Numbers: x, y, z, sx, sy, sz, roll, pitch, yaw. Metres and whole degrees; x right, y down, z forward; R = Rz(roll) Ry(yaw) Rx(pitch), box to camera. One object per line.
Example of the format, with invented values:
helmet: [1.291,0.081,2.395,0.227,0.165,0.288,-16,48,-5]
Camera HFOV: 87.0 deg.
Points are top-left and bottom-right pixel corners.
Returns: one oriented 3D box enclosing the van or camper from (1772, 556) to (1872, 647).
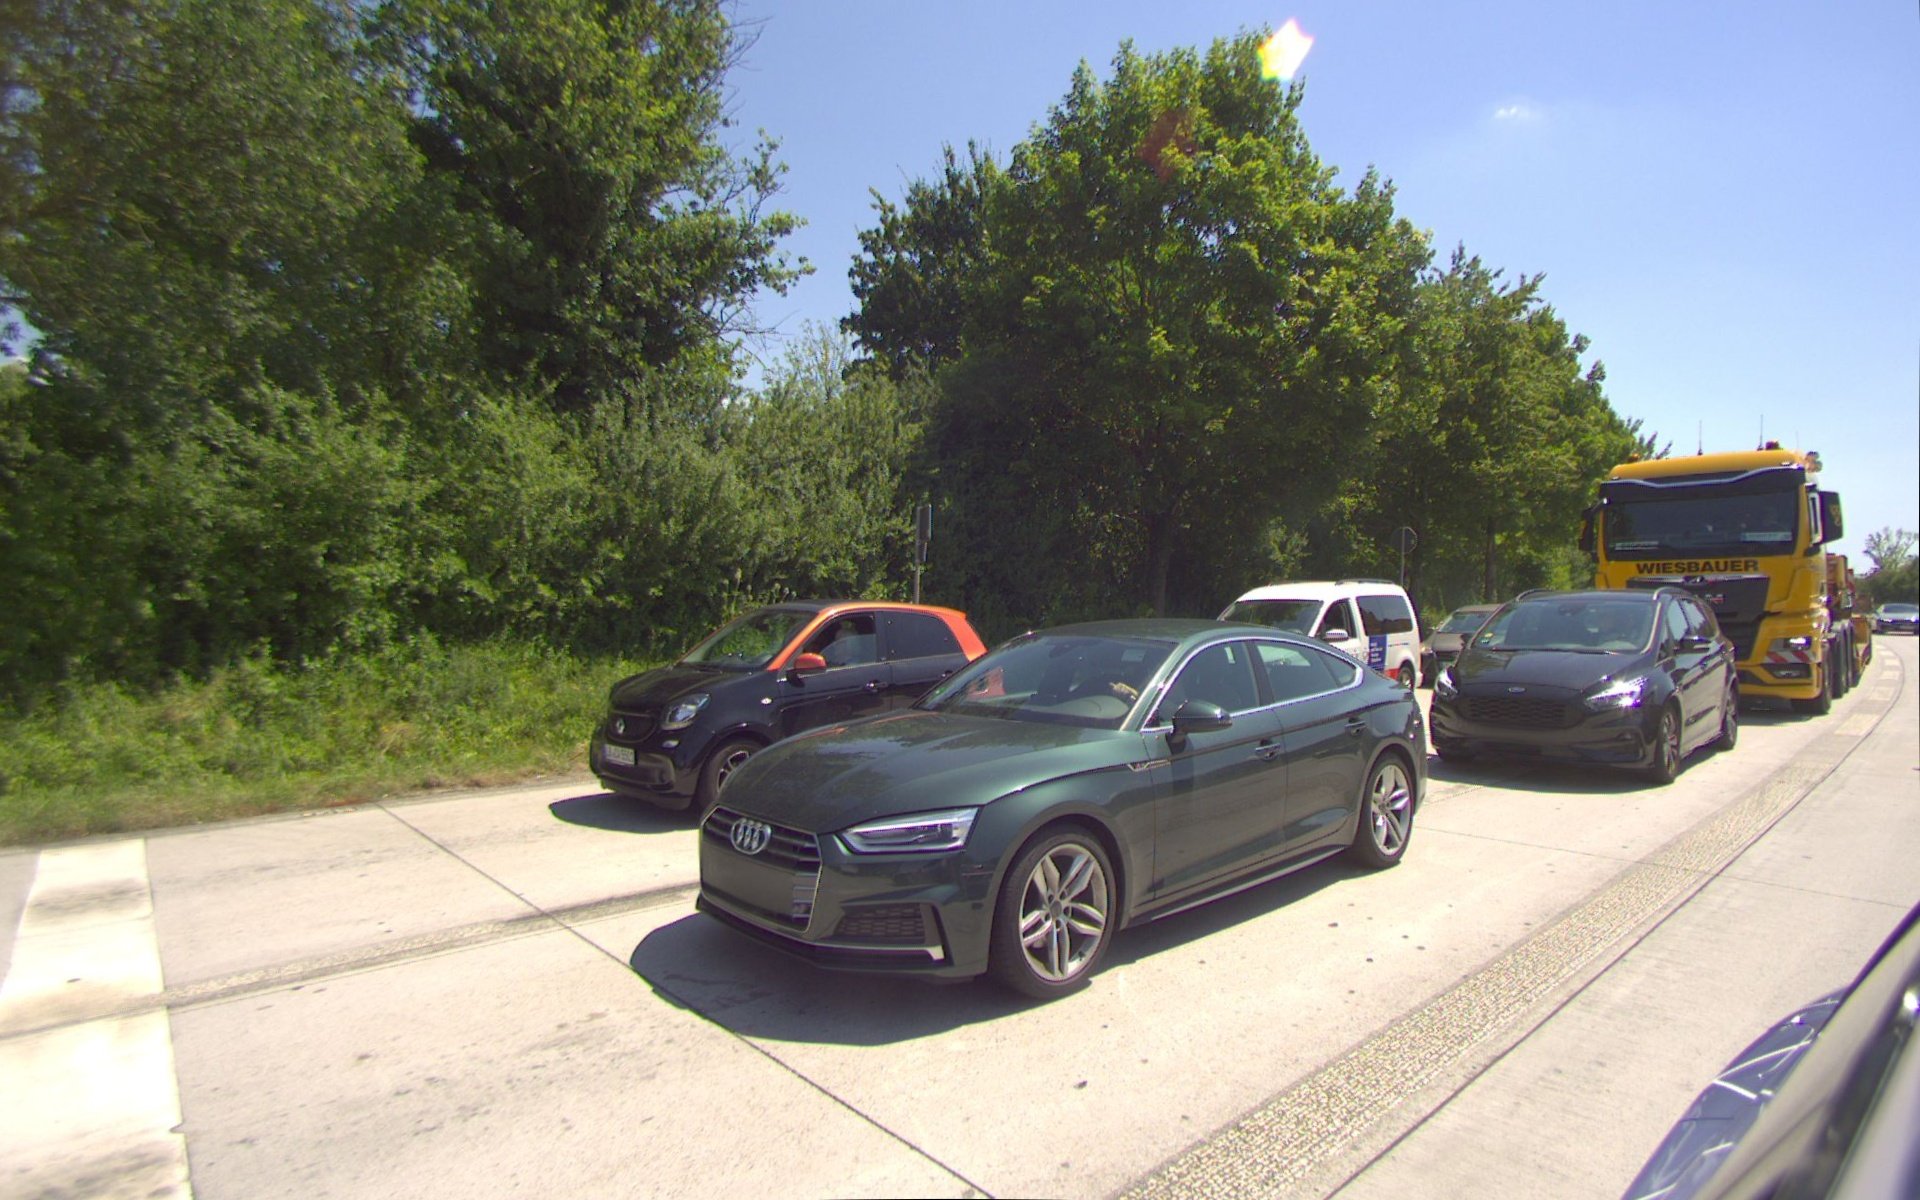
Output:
van or camper: [27.193,-0.004,31.843,2.063,2.606,5.815,0,0,44]

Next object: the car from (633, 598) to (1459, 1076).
car: [0.819,0.726,5.331,4.532,1.428,1.769,-1,1,-43]

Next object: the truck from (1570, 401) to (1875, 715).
truck: [12.319,-0.551,16.026,3.013,3.820,7.352,0,0,44]

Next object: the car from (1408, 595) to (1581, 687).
car: [10.088,0.673,18.934,1.767,1.480,4.296,0,1,44]

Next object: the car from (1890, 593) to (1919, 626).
car: [44.318,0.412,46.823,1.885,1.483,3.939,0,1,42]

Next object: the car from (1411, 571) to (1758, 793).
car: [6.216,0.582,9.815,4.570,1.660,1.785,-1,1,-44]

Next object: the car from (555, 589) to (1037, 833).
car: [-1.193,0.687,8.340,1.768,1.528,3.593,0,1,44]

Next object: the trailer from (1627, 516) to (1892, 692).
trailer: [17.975,0.042,21.964,3.027,2.626,16.098,0,0,44]

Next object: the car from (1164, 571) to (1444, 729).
car: [4.893,0.545,13.985,4.715,1.830,1.768,-1,0,-45]
